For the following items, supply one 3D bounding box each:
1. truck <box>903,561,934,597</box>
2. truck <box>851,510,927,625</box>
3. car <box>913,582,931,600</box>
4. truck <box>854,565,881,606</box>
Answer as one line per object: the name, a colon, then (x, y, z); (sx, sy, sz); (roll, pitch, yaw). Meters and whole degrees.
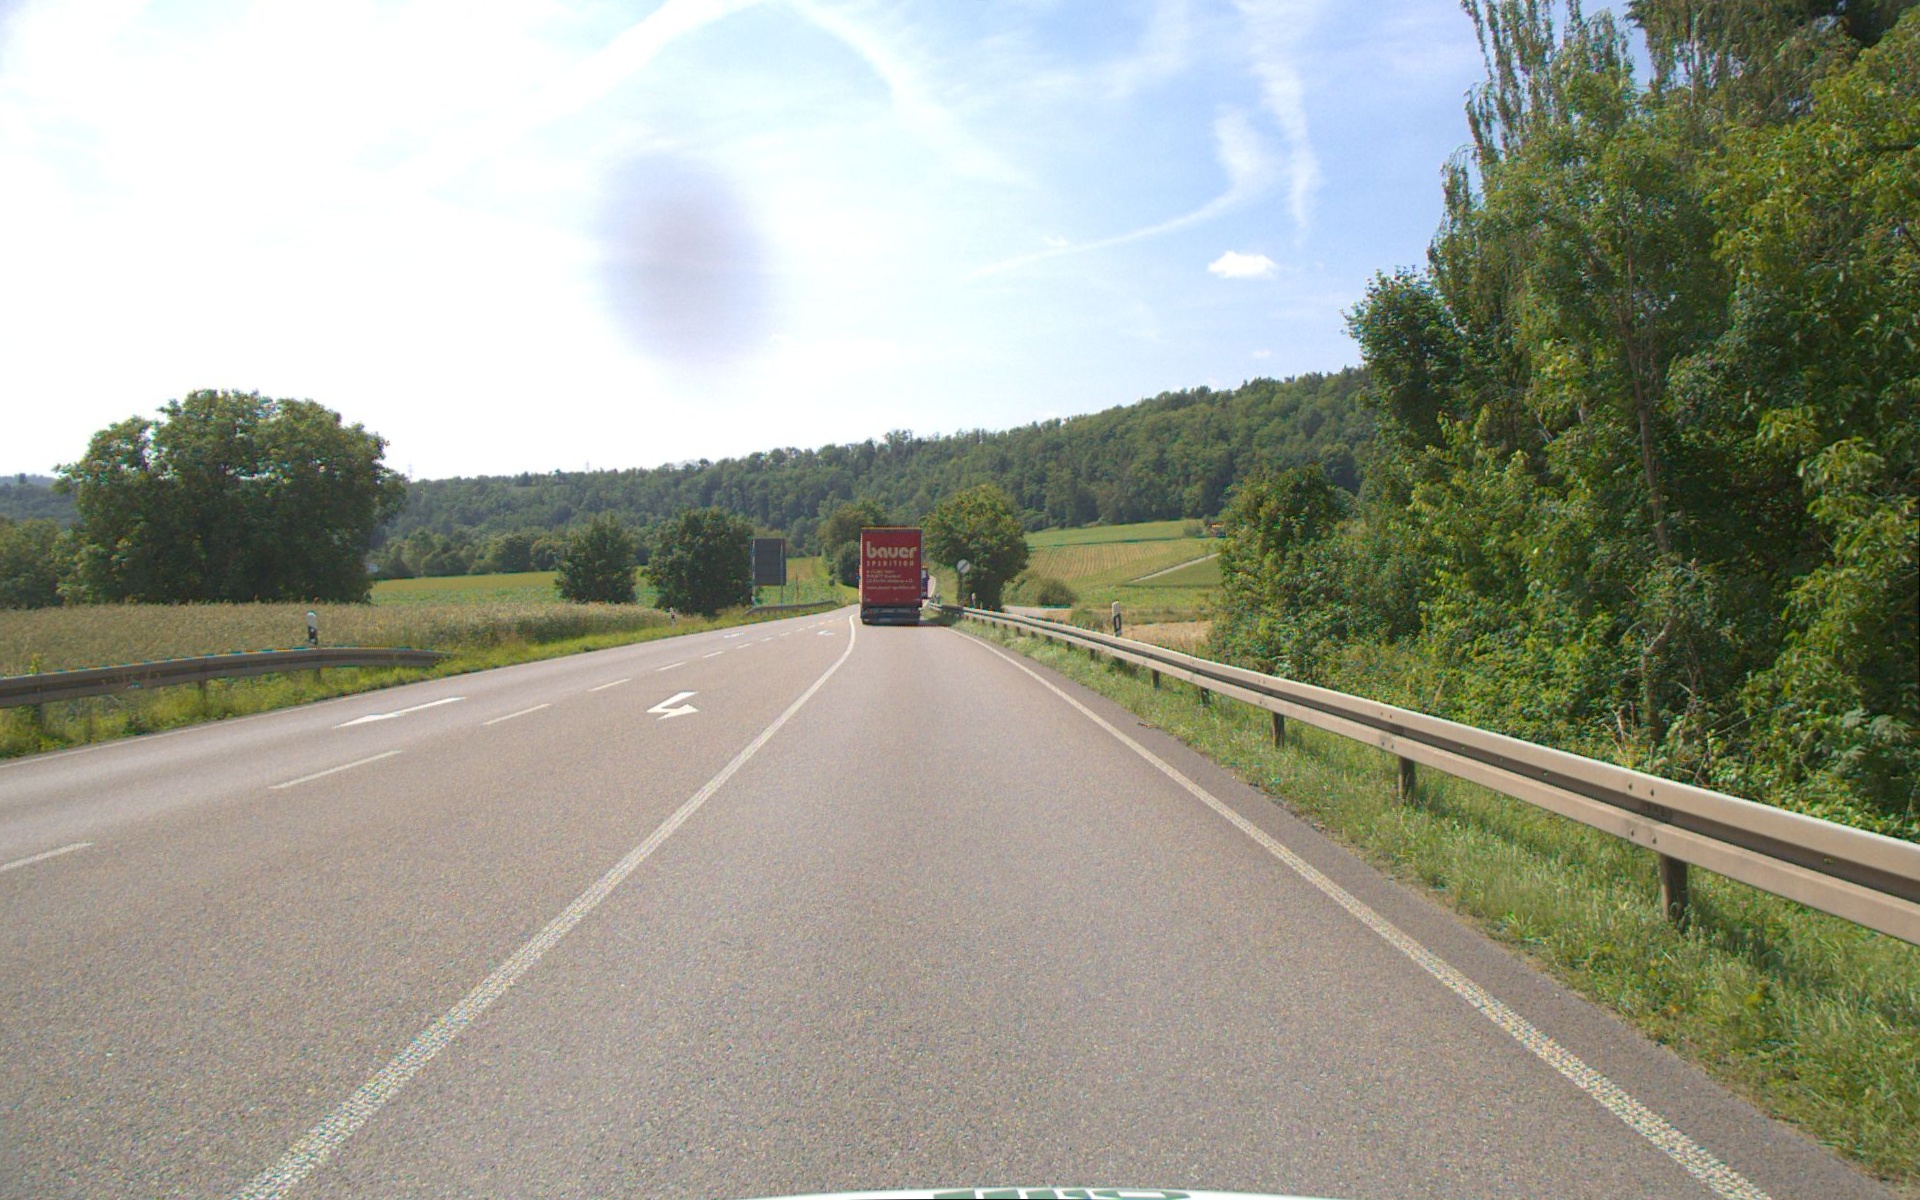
truck: (-5.467, -2.751, 217.158); (3.826, 4.446, 13.288); (2, 0, -2)
truck: (-3.207, -1.411, 74.475); (3.109, 4.706, 13.537); (0, 1, -3)
car: (-4.275, -1.018, 186.366); (1.954, 1.841, 3.998); (3, 0, -2)
truck: (-9.700, -1.474, 173.275); (2.479, 4.191, 6.020); (-2, 0, -1)
